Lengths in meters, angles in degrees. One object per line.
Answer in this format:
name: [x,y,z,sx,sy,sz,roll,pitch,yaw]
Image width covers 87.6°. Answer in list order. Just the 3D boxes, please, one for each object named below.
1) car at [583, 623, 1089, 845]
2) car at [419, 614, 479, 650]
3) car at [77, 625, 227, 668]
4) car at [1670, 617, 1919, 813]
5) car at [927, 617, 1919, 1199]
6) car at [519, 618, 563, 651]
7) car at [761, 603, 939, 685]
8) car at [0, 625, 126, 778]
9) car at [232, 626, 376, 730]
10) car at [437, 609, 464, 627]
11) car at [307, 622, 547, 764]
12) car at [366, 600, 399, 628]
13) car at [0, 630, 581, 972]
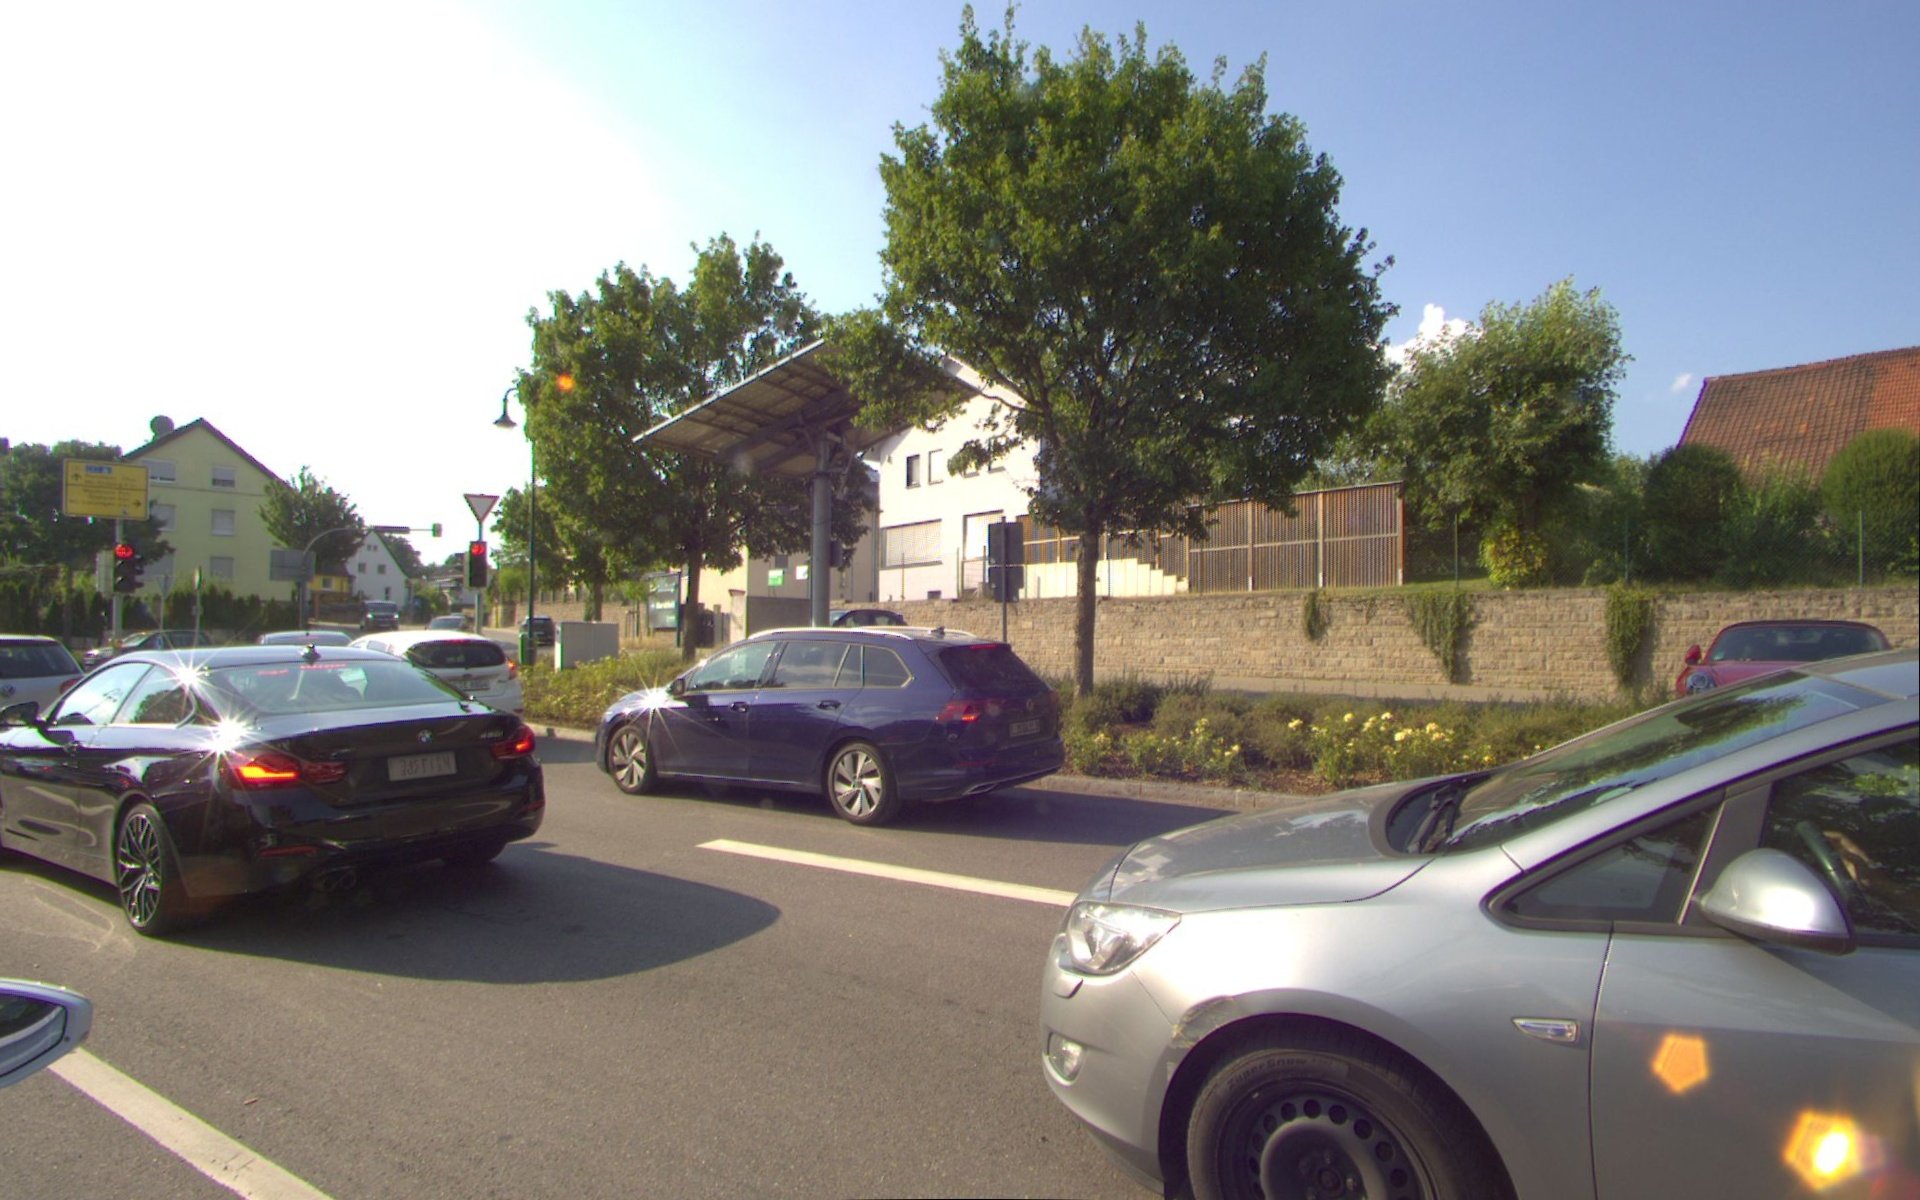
car: [-1.192,0.951,8.681,4.259,1.472,1.757,-1,0,34]
car: [-24.806,1.580,48.732,1.816,1.662,4.424,1,-2,-17]
car: [-30.060,1.721,37.354,1.821,1.508,3.983,-1,-2,30]
car: [8.236,0.954,9.733,1.758,1.510,4.120,-1,-2,41]
car: [2.184,0.784,2.150,4.256,1.472,1.758,-1,0,31]
car: [-22.656,1.821,54.253,1.937,1.701,4.205,0,-1,-20]
car: [-2.365,0.964,22.286,1.758,1.653,3.800,-1,-2,40]
car: [-10.795,1.013,10.768,3.848,1.444,1.758,-1,0,33]
car: [-11.741,1.273,17.804,1.643,1.562,4.362,0,0,-40]
car: [-49.957,1.773,98.196,1.938,1.701,4.203,0,-1,-21]
car: [-6.906,1.082,12.877,3.278,1.562,1.611,-1,0,40]
car: [-37.598,0.964,65.171,1.822,1.761,4.759,1,-2,-31]
car: [-4.424,0.915,6.175,4.220,1.416,1.758,-1,0,33]
